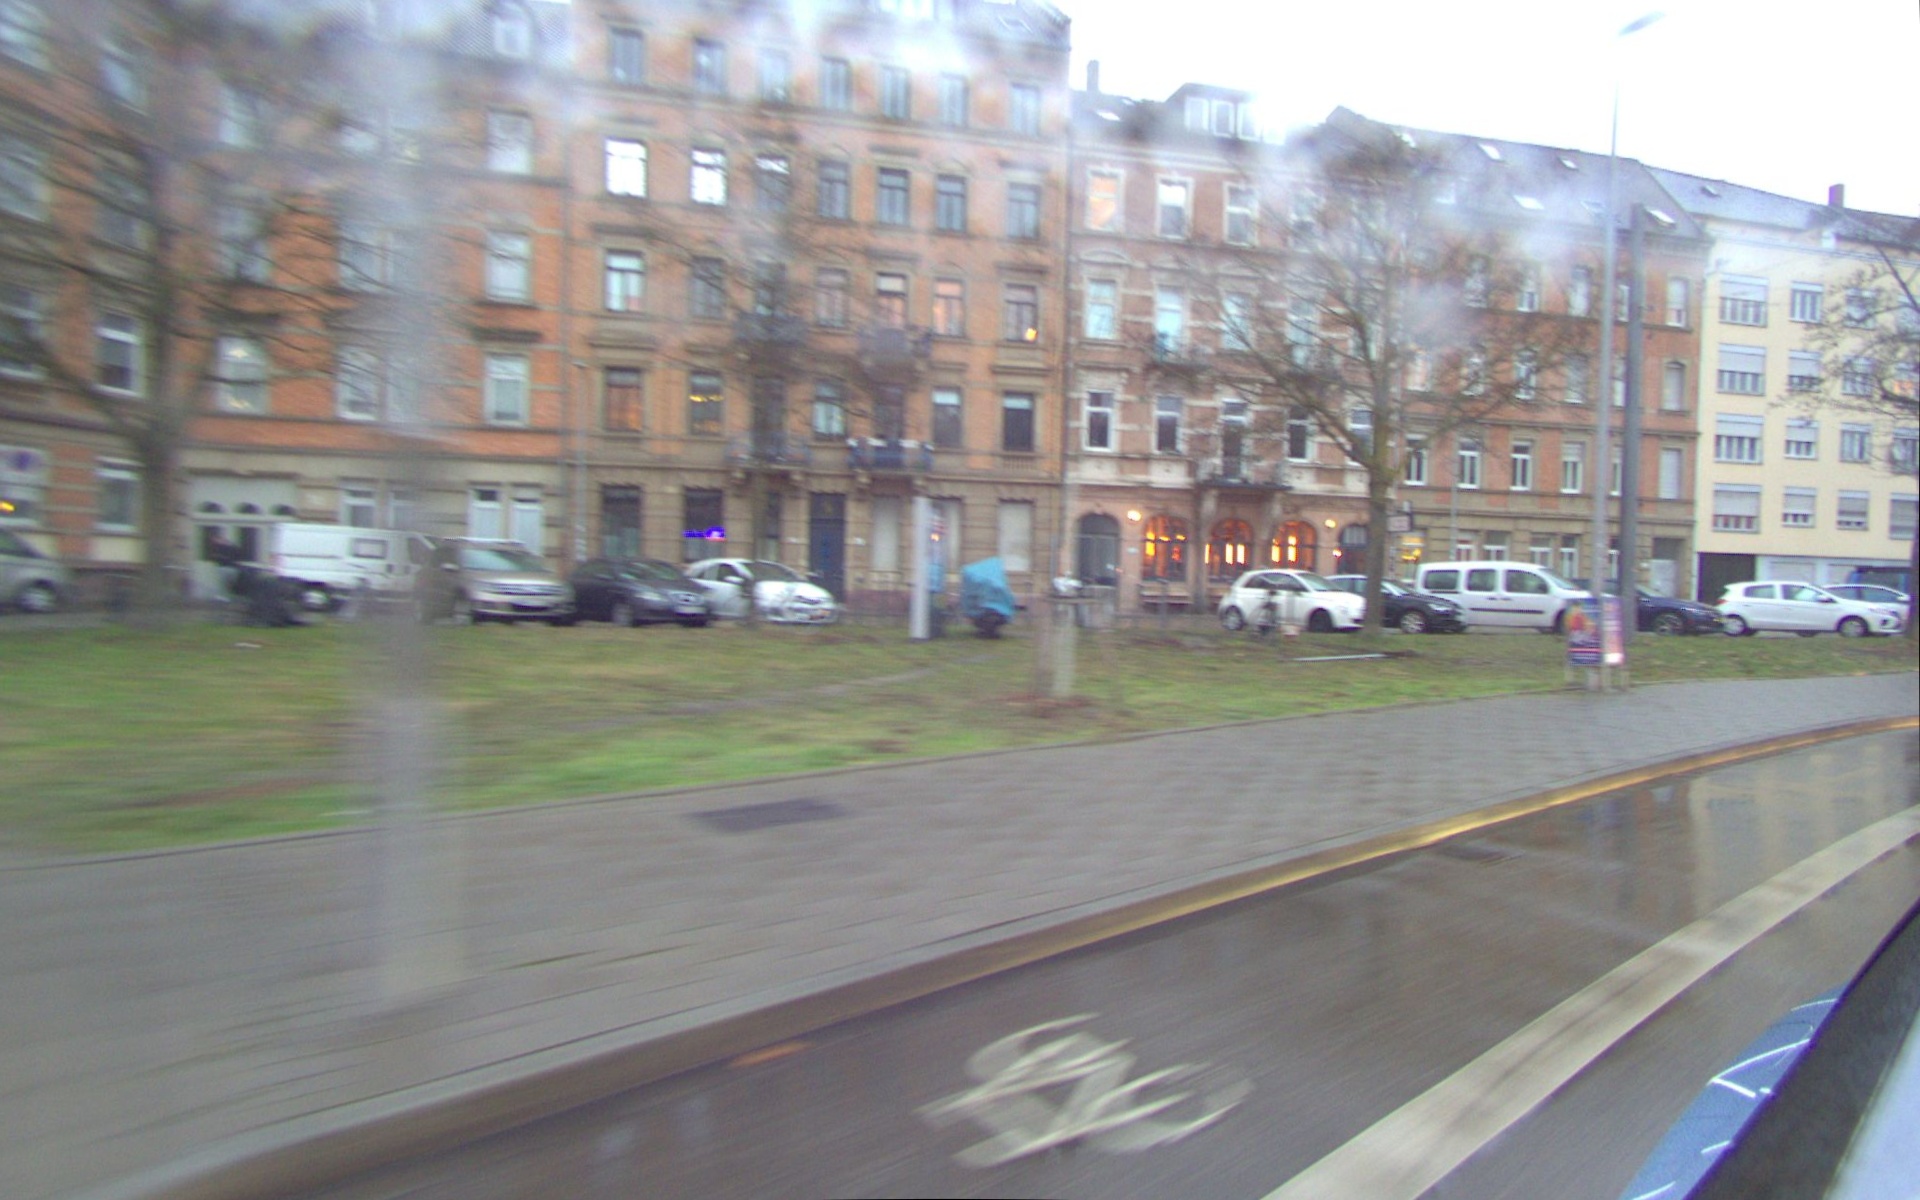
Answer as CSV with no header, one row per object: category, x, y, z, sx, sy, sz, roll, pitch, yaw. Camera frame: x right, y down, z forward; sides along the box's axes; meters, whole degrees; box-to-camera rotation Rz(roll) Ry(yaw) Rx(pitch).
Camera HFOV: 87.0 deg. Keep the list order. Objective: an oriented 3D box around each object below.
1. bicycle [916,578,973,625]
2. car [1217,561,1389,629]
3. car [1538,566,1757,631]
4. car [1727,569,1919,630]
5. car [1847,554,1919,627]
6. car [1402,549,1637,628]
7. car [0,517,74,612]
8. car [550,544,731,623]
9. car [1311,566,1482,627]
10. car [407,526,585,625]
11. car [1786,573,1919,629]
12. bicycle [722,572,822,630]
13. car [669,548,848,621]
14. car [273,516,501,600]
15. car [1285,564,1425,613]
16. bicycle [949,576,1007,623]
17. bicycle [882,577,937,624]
bicycle,-0.373,0.025,22.802,0.613,0.978,2.175,3,0,-19
car,7.890,-0.118,23.478,1.586,1.461,3.462,0,0,-40
car,16.622,-0.070,24.610,1.739,1.250,4.059,1,3,-41
car,22.313,0.009,26.059,1.729,1.450,3.771,0,-1,-38
car,27.414,-0.249,27.713,4.703,2.008,1.772,1,0,42
car,13.483,-0.345,24.631,1.748,1.611,4.655,-1,4,-43
car,-20.824,-0.725,19.993,1.971,1.943,4.726,-1,0,15
car,-6.207,-0.317,19.502,3.730,1.372,1.652,1,0,42
car,10.470,-0.110,24.388,1.637,1.368,3.424,0,1,-45
car,-8.808,-0.539,19.042,1.911,1.656,3.993,-1,4,-43
car,24.570,0.020,26.906,3.983,1.433,1.617,-1,-1,42
bicycle,-3.270,0.006,17.660,1.625,0.948,0.513,2,2,9
car,-4.194,-0.352,20.741,3.845,1.353,1.672,3,2,43
car,-14.843,-1.085,26.550,4.882,2.038,2.005,1,2,-16
car,12.781,-0.340,32.808,3.965,1.520,1.741,0,-1,-15
bicycle,0.387,-0.037,23.070,0.613,0.978,2.176,1,2,-19
bicycle,-1.150,0.002,22.629,0.613,0.978,2.175,3,0,-19
